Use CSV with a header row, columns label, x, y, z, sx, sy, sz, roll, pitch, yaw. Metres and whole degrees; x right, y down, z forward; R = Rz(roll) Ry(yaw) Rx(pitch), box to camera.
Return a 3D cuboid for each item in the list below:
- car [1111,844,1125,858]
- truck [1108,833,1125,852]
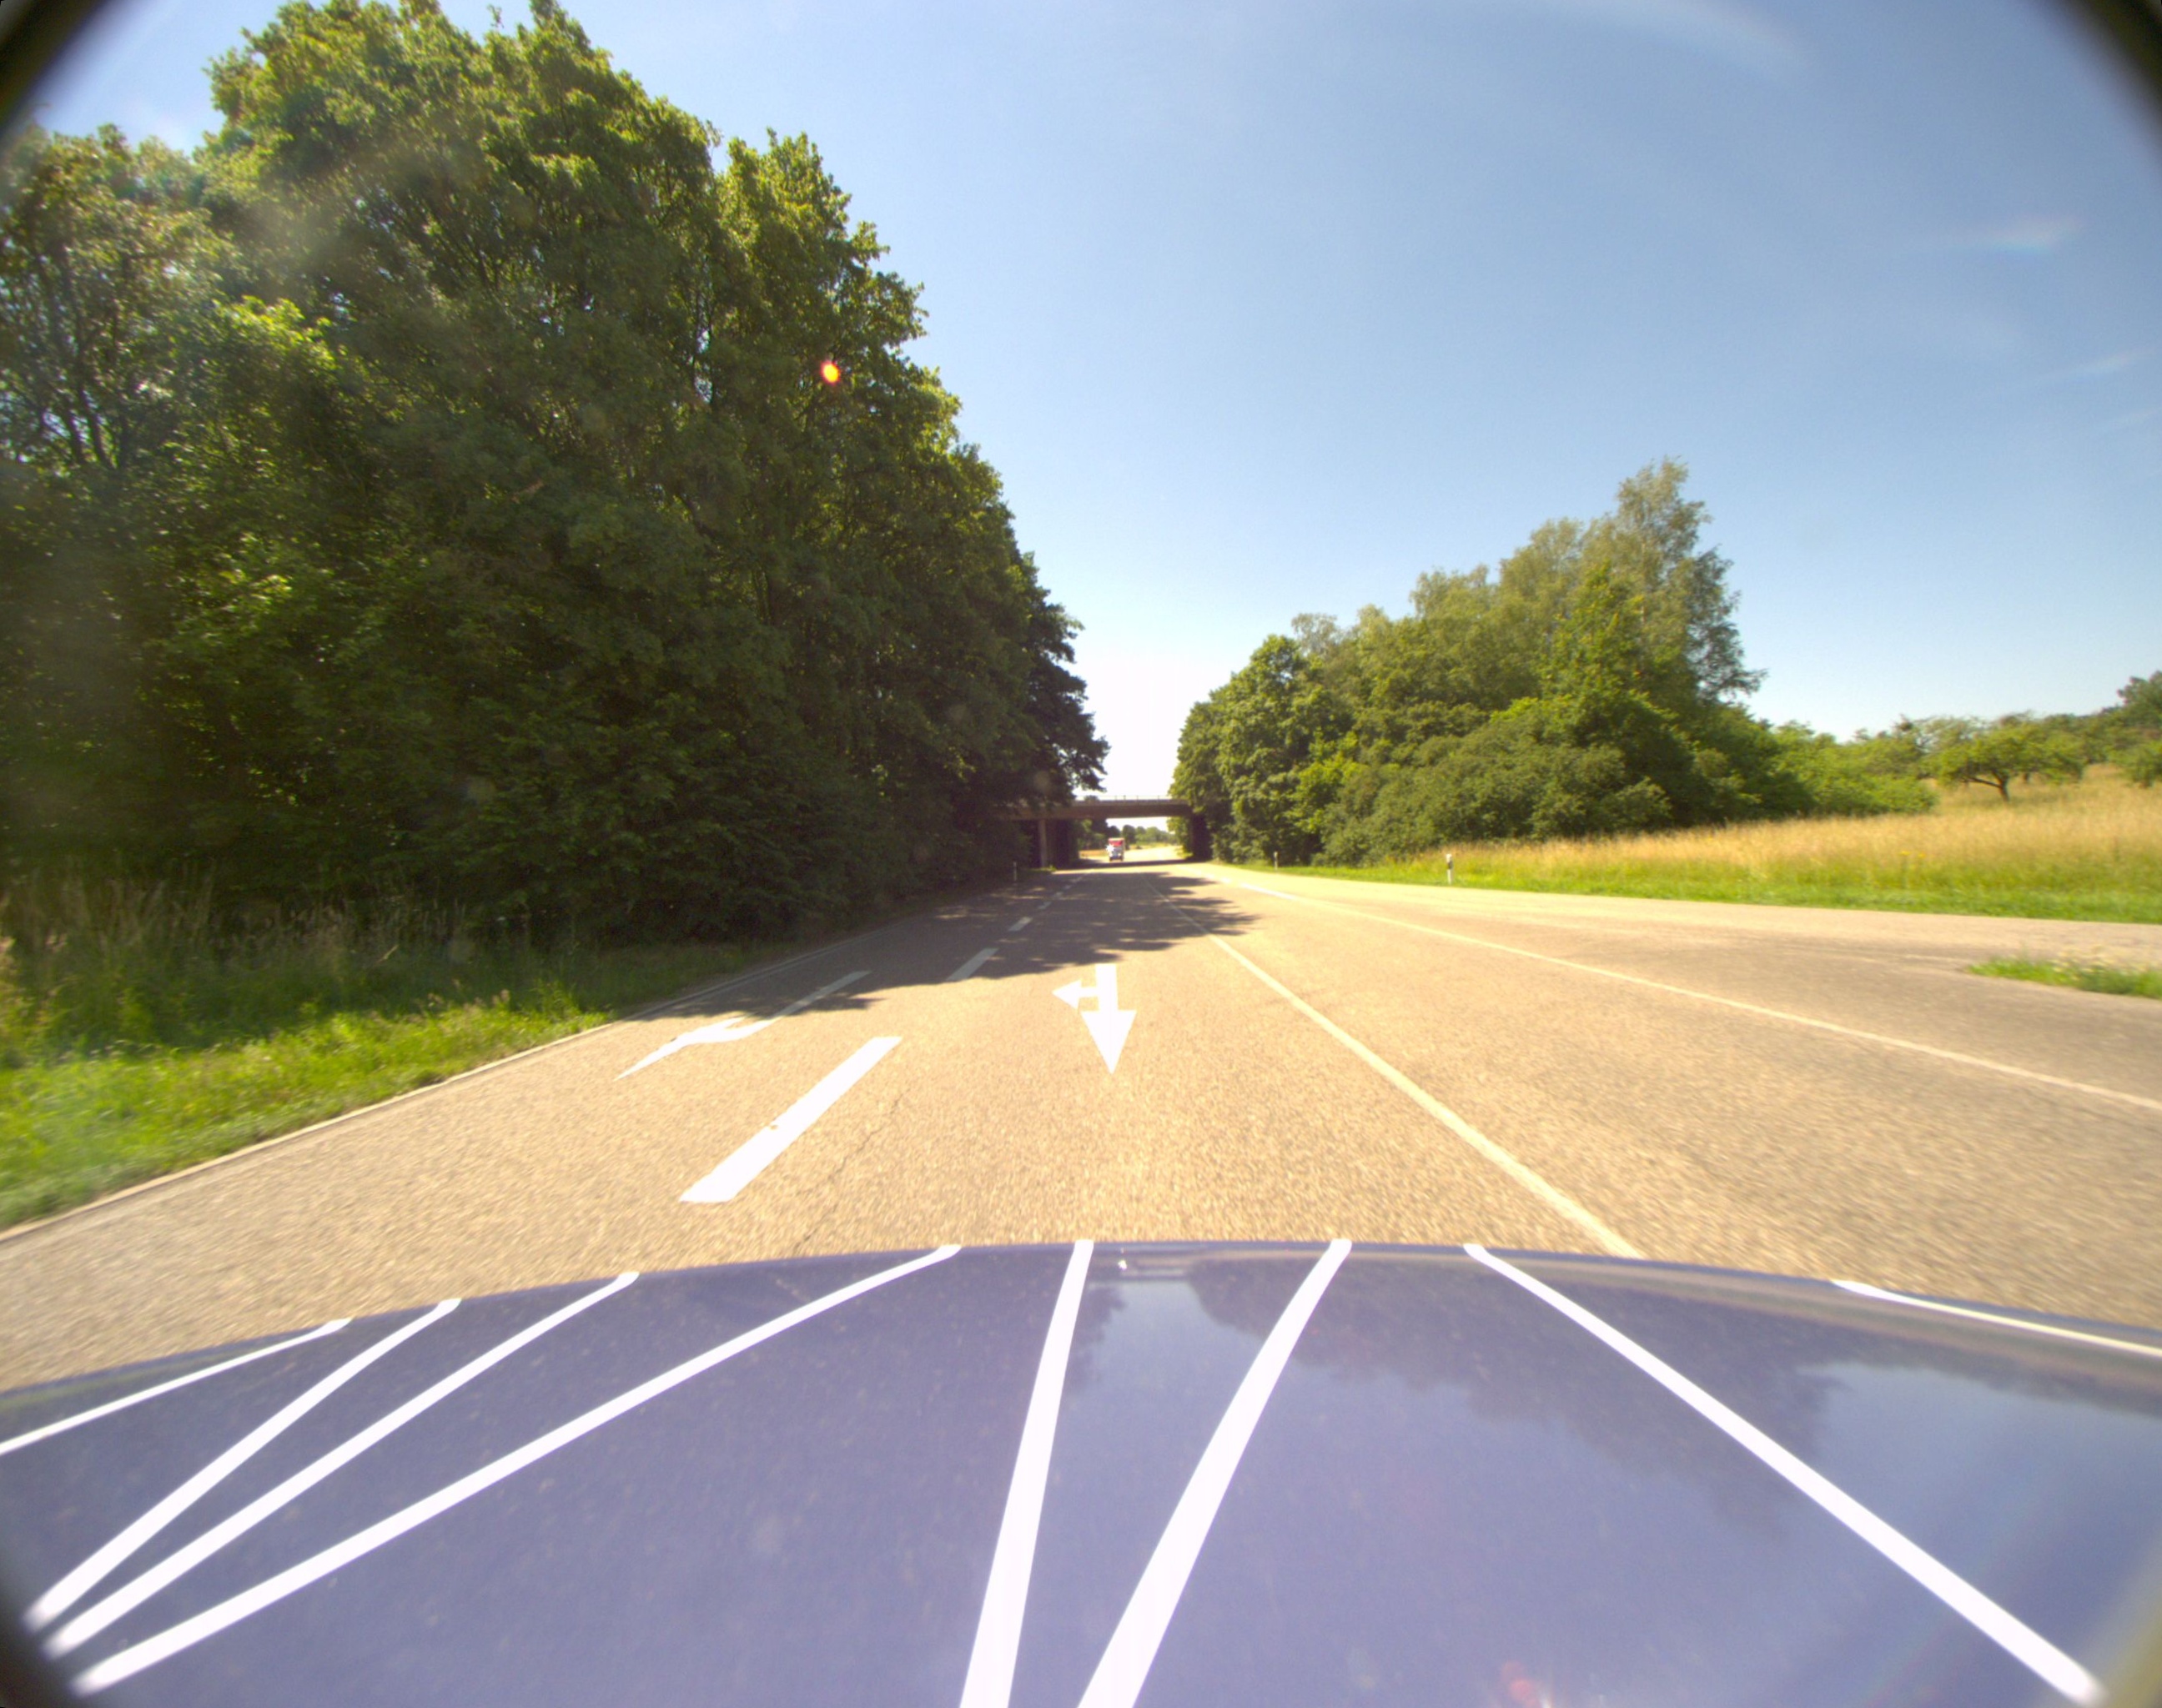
label,x,y,z,sx,sy,sz,roll,pitch,yaw
car,4.836,-0.410,100.299,1.746,1.833,4.000,-2,1,3
truck,5.654,-1.819,121.225,2.457,2.927,6.973,-2,1,2
